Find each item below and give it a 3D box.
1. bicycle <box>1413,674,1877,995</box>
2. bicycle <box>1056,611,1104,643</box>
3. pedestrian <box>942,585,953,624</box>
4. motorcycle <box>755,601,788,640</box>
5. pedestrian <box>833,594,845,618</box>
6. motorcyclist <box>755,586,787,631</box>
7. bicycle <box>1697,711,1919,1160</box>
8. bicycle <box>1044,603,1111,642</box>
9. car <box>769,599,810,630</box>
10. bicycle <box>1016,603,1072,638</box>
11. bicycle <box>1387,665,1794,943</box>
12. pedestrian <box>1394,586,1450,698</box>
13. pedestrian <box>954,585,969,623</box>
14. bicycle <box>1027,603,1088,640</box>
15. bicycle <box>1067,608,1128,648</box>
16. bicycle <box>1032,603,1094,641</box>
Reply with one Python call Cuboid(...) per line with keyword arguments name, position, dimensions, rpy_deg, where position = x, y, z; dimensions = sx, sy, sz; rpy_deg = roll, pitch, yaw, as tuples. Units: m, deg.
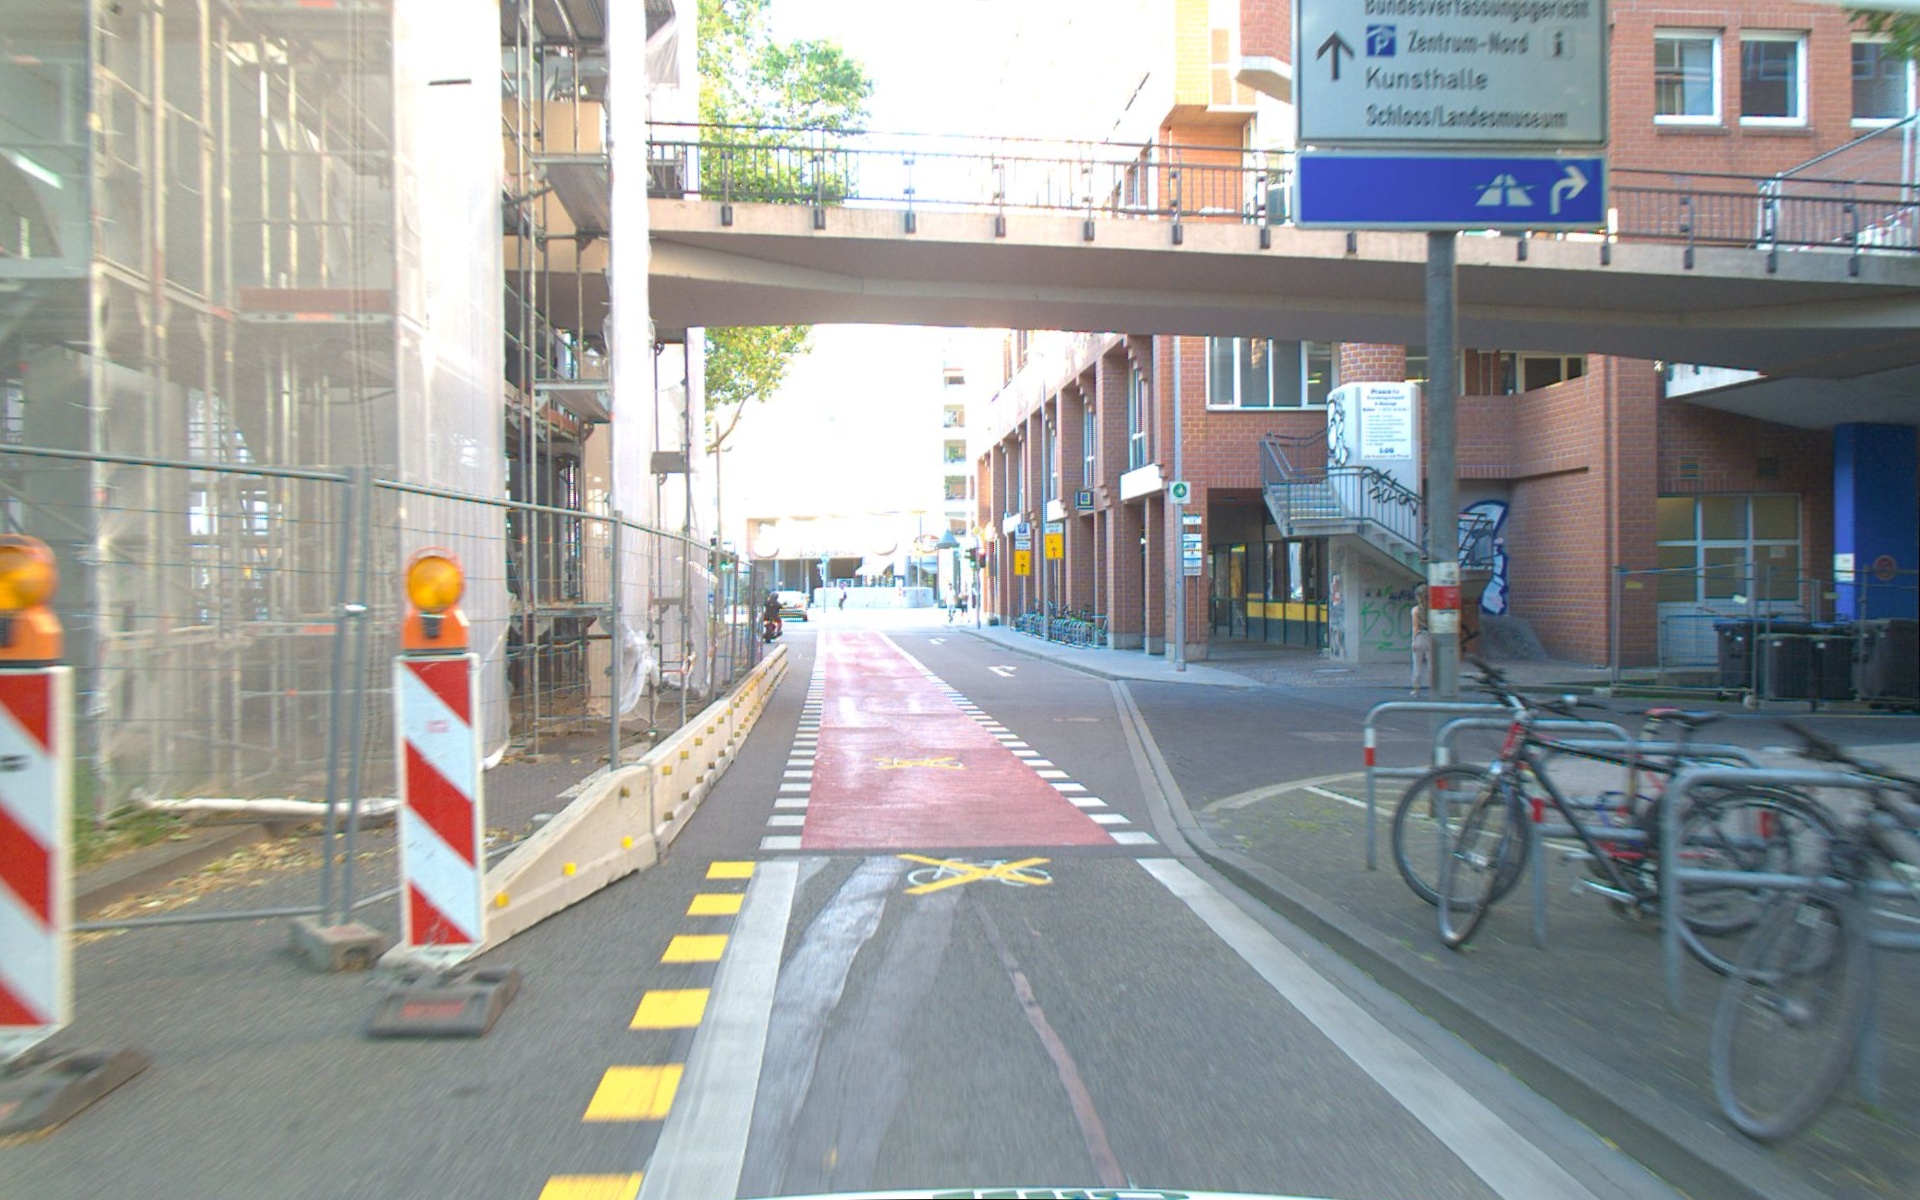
Cuboid(name="bicycle", position=(2.674, 0.864, 6.523), dimensions=(1.646, 1.086, 0.500), rpy_deg=(0, 0, 29))
Cuboid(name="bicycle", position=(3.494, 0.793, 48.278), dimensions=(1.307, 0.856, 0.424), rpy_deg=(-3, 0, -4))
Cuboid(name="pedestrian", position=(-0.576, 0.195, 77.190), dimensions=(0.466, 1.824, 0.540), rpy_deg=(-1, 0, -5))
Cuboid(name="motorcycle", position=(-5.851, 0.633, 51.350), dimensions=(0.954, 1.151, 2.802), rpy_deg=(0, 0, -5))
Cuboid(name="pedestrian", position=(-8.215, 0.426, 112.127), dimensions=(0.547, 1.611, 0.538), rpy_deg=(0, 0, 42))
Cuboid(name="motorcyclist", position=(-5.841, 0.270, 51.257), dimensions=(0.951, 1.370, 1.136), rpy_deg=(0, 0, -6))
Cuboid(name="bicycle", position=(2.839, 0.865, 4.292), dimensions=(1.642, 1.086, 0.511), rpy_deg=(0, 0, 18))
Cuboid(name="bicycle", position=(3.519, 0.665, 49.632), dimensions=(1.894, 1.075, 0.572), rpy_deg=(-3, 0, -2))
Cuboid(name="car", position=(-8.359, 0.695, 80.937), dimensions=(1.887, 1.413, 3.994), rpy_deg=(-1, 1, -7))
Cuboid(name="bicycle", position=(2.866, 0.710, 56.513), dimensions=(1.854, 1.138, 0.474), rpy_deg=(-1, 0, -5))
Cuboid(name="bicycle", position=(2.793, 0.857, 7.388), dimensions=(1.646, 1.086, 0.500), rpy_deg=(0, 0, 29))
Cuboid(name="pedestrian", position=(6.962, 0.620, 24.939), dimensions=(0.558, 1.662, 0.777), rpy_deg=(0, 0, -6))
Cuboid(name="pedestrian", position=(0.069, 0.192, 77.281), dimensions=(0.621, 1.755, 0.629), rpy_deg=(-1, 0, -5))
Cuboid(name="bicycle", position=(3.120, 0.693, 52.981), dimensions=(1.854, 1.138, 0.474), rpy_deg=(-1, 0, -5))
Cuboid(name="bicycle", position=(3.775, 0.767, 45.543), dimensions=(1.579, 0.971, 0.554), rpy_deg=(-3, 0, -3))
Cuboid(name="bicycle", position=(3.262, 0.691, 52.380), dimensions=(1.854, 1.138, 0.549), rpy_deg=(-1, 0, -5))
